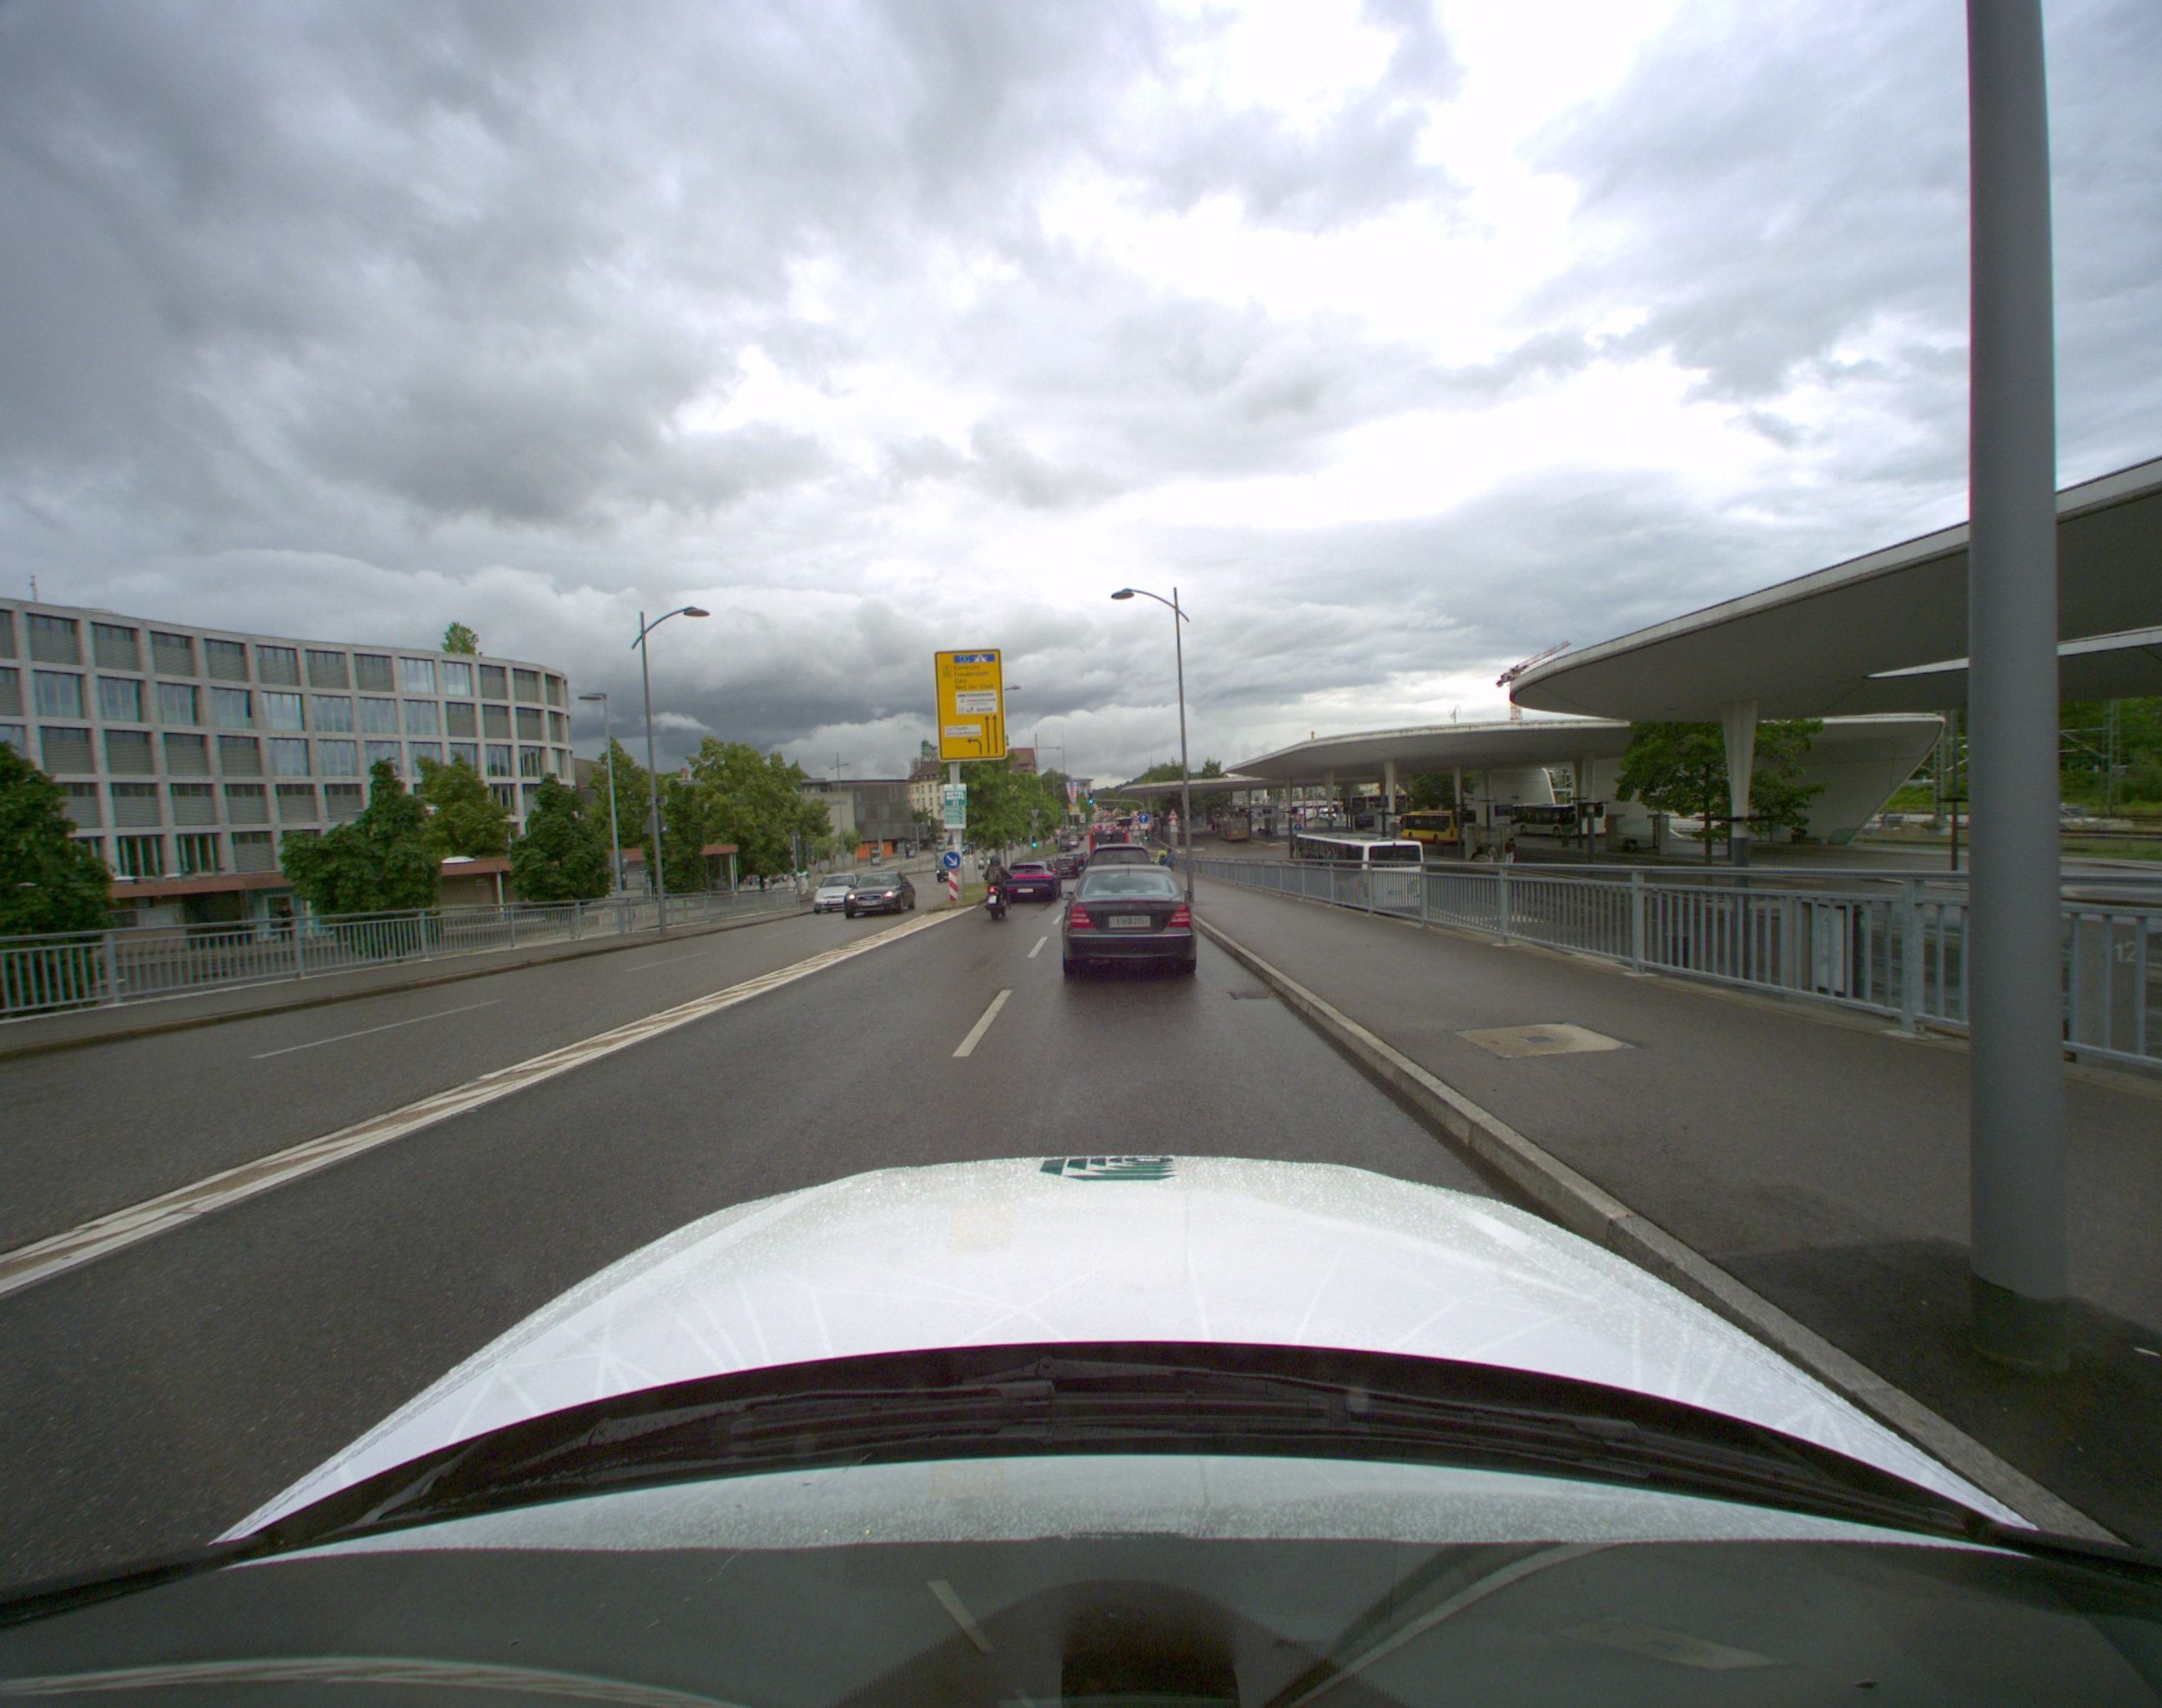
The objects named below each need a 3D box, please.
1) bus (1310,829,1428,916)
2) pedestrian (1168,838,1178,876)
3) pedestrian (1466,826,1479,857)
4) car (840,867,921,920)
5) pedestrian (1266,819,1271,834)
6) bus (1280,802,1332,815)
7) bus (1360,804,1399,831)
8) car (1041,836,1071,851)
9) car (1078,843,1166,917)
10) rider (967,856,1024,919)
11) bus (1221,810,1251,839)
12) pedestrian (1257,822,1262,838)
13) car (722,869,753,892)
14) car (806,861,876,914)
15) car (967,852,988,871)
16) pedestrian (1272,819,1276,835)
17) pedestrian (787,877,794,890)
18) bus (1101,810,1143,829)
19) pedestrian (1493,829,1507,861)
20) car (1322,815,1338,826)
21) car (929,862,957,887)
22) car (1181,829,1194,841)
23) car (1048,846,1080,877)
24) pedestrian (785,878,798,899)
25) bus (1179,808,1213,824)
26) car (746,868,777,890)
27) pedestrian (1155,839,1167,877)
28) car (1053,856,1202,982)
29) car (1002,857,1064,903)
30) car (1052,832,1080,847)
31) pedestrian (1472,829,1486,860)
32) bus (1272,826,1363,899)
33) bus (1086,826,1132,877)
[{"bbox_3d":[12.781,0.663,36.846,2.639,3.235,7.069,-3,3,-1],"label":"bus"},{"bbox_3d":[4.981,0.181,43.975,0.422,2.014,0.484,-3,-2,4],"label":"pedestrian"},{"bbox_3d":[26.654,-0.847,55.412,0.541,2.013,0.580,-3,0,2],"label":"pedestrian"},{"bbox_3d":[-6.830,1.298,28.250,1.829,1.526,4.589,-3,0,-3],"label":"car"},{"bbox_3d":[25.474,-3.759,110.585,0.422,2.013,0.484,-3,0,4],"label":"pedestrian"},{"bbox_3d":[46.392,-9.425,167.747,10.139,2.013,2.169,-3,1,-2],"label":"bus"},{"bbox_3d":[37.450,-4.582,102.296,2.589,3.209,7.002,-3,2,4],"label":"bus"},{"bbox_3d":[-3.616,-1.494,118.342,3.967,2.013,2.004,-3,1,6],"label":"car"},{"bbox_3d":[1.144,0.576,20.836,1.816,1.687,4.010,-1,1,9],"label":"car"},{"bbox_3d":[-2.112,0.794,20.463,0.876,1.472,2.201,-1,0,8],"label":"rider"},{"bbox_3d":[20.936,-3.910,110.321,3.161,3.600,10.532,-3,0,7],"label":"bus"},{"bbox_3d":[22.820,-3.068,104.068,0.422,2.013,0.484,-3,0,4],"label":"pedestrian"},{"bbox_3d":[-34.059,2.583,80.648,2.008,2.013,3.958,2,1,-35],"label":"car"},{"bbox_3d":[-10.127,1.349,34.644,1.991,2.013,3.992,-3,0,-6],"label":"car"},{"bbox_3d":[-11.648,0.882,91.995,1.990,2.014,4.195,-3,-1,-5],"label":"car"},{"bbox_3d":[25.376,-3.508,107.122,0.422,2.014,0.484,-3,-2,4],"label":"pedestrian"},{"bbox_3d":[-20.218,2.078,56.736,0.299,0.873,0.299,-3,2,4],"label":"pedestrian"},{"bbox_3d":[9.196,-7.752,184.000,3.282,4.006,10.774,-6,5,-36],"label":"bus"},{"bbox_3d":[26.387,-0.556,51.257,0.558,2.013,0.484,-3,0,4],"label":"pedestrian"},{"bbox_3d":[47.530,-6.374,155.430,1.986,2.013,4.002,-3,2,2],"label":"car"},{"bbox_3d":[-12.162,1.781,72.179,1.990,2.014,4.195,-3,-1,-5],"label":"car"},{"bbox_3d":[17.856,-3.179,136.045,1.983,2.013,4.009,-3,1,7],"label":"car"},{"bbox_3d":[-1.120,0.464,56.413,1.986,2.006,4.001,-1,1,1],"label":"car"},{"bbox_3d":[-20.170,2.384,56.732,0.645,1.408,0.531,-3,2,4],"label":"pedestrian"},{"bbox_3d":[26.698,-8.845,189.208,7.179,3.396,3.080,-3,2,-2],"label":"bus"},{"bbox_3d":[-32.281,2.473,82.244,2.008,2.013,3.958,2,1,-35],"label":"car"},{"bbox_3d":[4.317,0.243,43.931,0.487,2.014,0.470,-3,-2,4],"label":"pedestrian"},{"bbox_3d":[0.675,0.762,11.273,1.698,1.419,3.730,-1,0,4],"label":"car"},{"bbox_3d":[-1.623,0.856,28.661,1.753,1.436,4.002,-1,1,2],"label":"car"},{"bbox_3d":[-2.361,-2.278,127.017,3.967,2.013,2.004,-3,1,6],"label":"car"},{"bbox_3d":[26.437,-0.654,54.093,0.541,2.013,0.580,-3,0,2],"label":"pedestrian"},{"bbox_3d":[12.583,0.287,43.975,2.639,3.235,7.070,-3,4,-1],"label":"bus"},{"bbox_3d":[1.915,-0.186,56.504,2.817,3.189,10.313,-1,0,2],"label":"bus"}]
